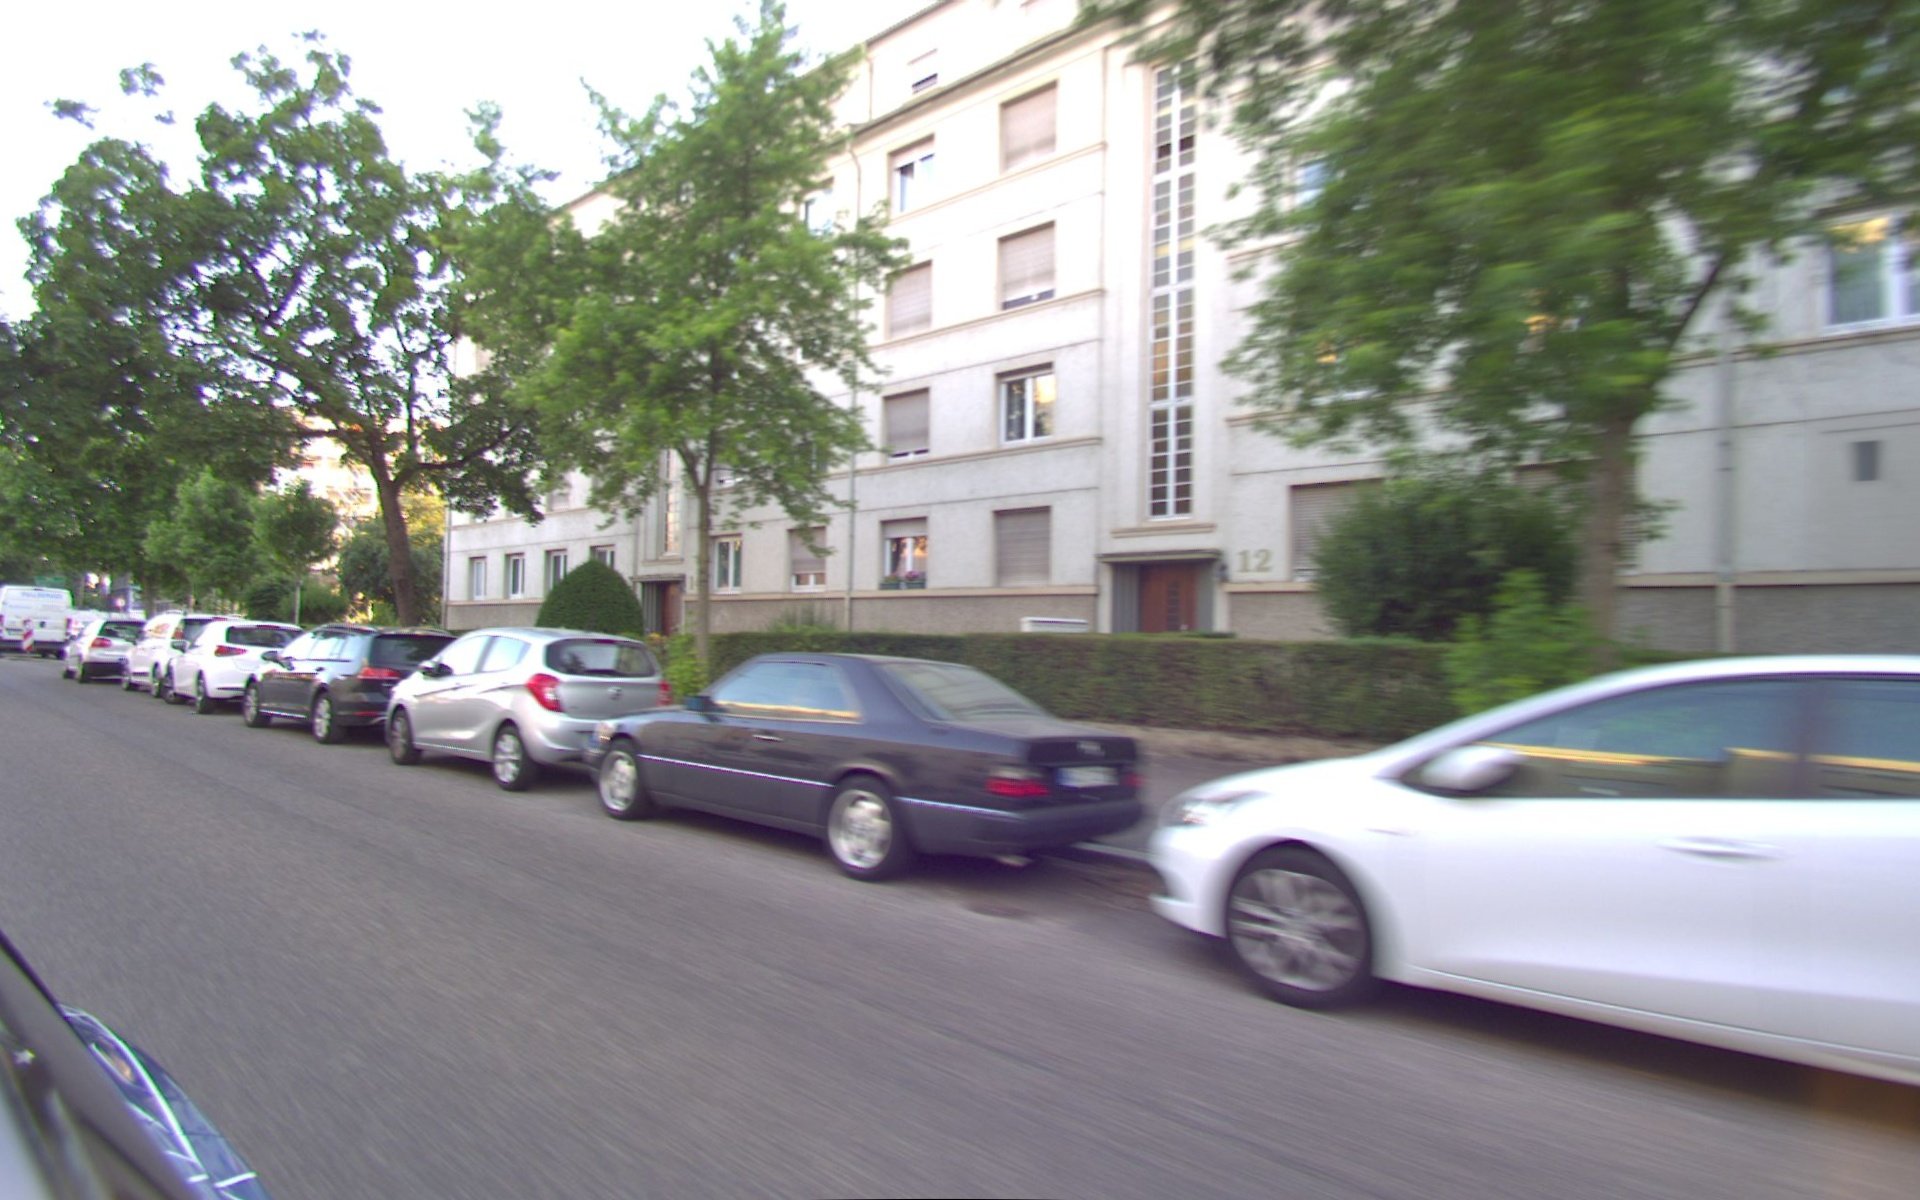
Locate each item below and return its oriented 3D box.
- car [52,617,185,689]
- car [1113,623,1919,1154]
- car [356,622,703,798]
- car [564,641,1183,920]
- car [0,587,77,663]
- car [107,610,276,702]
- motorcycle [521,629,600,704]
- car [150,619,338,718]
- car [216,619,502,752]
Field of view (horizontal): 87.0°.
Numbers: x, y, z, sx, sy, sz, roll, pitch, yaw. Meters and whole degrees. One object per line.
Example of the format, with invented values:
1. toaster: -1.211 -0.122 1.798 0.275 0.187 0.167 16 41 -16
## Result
1. car: -19.787 1.222 23.744 4.223 1.483 1.733 -1 -6 42
2. car: 2.826 0.891 3.856 4.141 1.471 1.675 -1 -6 39
3. car: -4.502 1.027 10.406 3.701 1.471 1.658 -1 -6 39
4. car: -0.871 1.049 7.279 4.577 1.342 1.657 -1 -6 40
5. car: -34.189 0.928 36.797 6.100 2.480 2.156 -1 -6 41
6. car: -15.571 1.110 20.437 4.104 1.644 1.735 -1 -6 40
7. motorcycle: -7.522 1.228 19.011 1.828 1.335 0.580 -1 -3 42
8. car: -12.246 1.136 17.222 3.944 1.491 1.733 -1 -6 43
9. car: -8.181 1.072 13.595 4.674 1.491 1.735 -1 -6 40
